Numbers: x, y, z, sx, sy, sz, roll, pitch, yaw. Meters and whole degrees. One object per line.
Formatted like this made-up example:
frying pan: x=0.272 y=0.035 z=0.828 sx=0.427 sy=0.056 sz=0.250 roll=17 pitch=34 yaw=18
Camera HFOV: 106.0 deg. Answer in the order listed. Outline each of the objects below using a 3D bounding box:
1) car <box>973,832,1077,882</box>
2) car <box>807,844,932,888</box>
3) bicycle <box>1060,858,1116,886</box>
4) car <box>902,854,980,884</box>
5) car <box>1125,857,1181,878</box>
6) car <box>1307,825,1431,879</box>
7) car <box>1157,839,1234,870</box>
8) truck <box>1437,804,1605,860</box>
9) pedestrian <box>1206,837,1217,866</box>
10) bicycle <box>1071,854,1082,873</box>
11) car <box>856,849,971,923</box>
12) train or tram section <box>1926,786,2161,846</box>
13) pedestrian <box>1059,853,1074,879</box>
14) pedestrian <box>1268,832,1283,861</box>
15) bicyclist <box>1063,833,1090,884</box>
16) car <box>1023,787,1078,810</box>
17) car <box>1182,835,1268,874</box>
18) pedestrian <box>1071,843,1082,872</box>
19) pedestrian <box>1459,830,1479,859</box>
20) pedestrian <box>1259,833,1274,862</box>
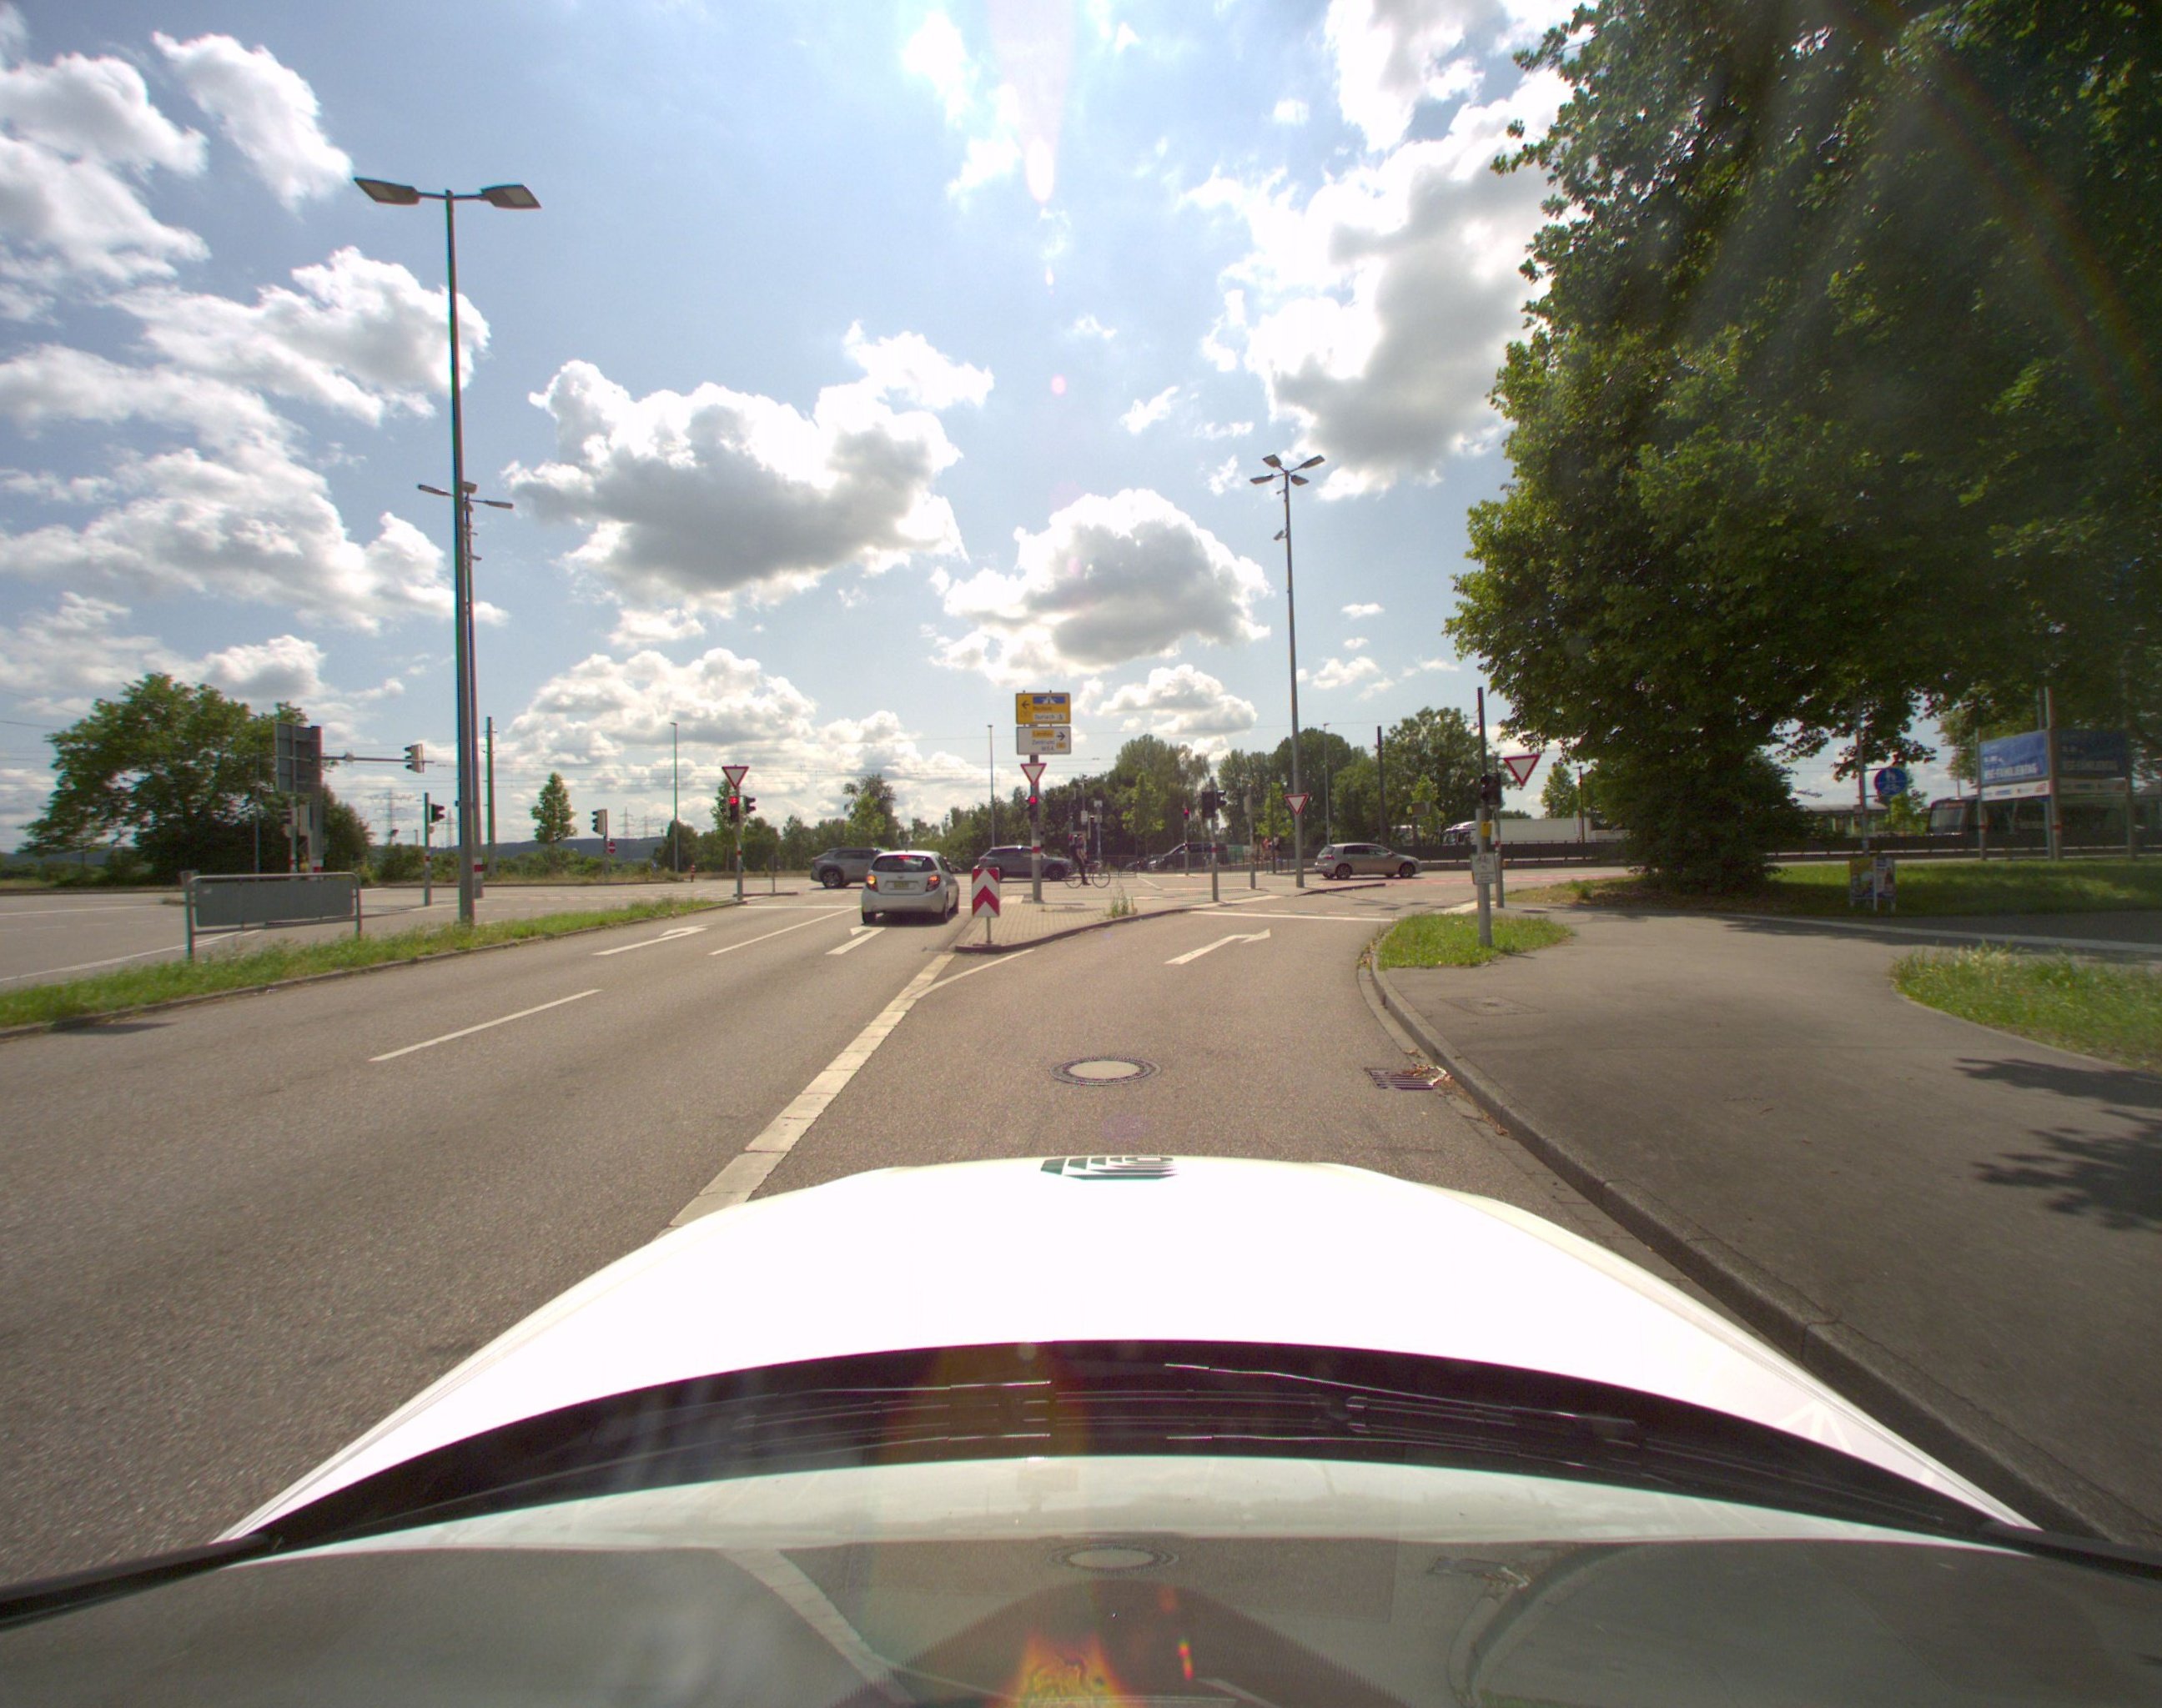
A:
car: x=-2.429 y=0.125 z=35.593 sx=4.339 sy=1.989 sz=1.998 roll=-2 pitch=0 yaw=-4
car: x=-8.297 y=0.444 z=32.319 sx=4.496 sy=1.674 sz=1.901 roll=0 pitch=0 yaw=-5
bicycle: x=0.238 y=0.656 z=29.807 sx=2.012 sy=0.999 sz=0.621 roll=0 pitch=1 yaw=-4
car: x=-9.751 y=1.027 z=56.961 sx=5.107 sy=1.808 sz=1.997 roll=-2 pitch=0 yaw=-4
car: x=5.427 y=0.995 z=61.578 sx=3.881 sy=1.409 sz=1.664 roll=-2 pitch=0 yaw=-11
car: x=11.764 y=-0.094 z=33.502 sx=4.339 sy=1.989 sz=1.998 roll=-2 pitch=0 yaw=-4
car: x=7.423 y=0.034 z=53.233 sx=4.641 sy=1.820 sz=1.998 roll=-2 pitch=0 yaw=-3
truck: x=35.025 y=-1.741 z=65.063 sx=11.926 sy=4.104 sz=2.950 roll=-2 pitch=0 yaw=-2
pedestrian: x=7.816 y=-0.154 z=48.828 sx=0.521 sy=1.721 sz=0.730 roll=-2 pitch=0 yaw=1
bicycle: x=-0.268 y=0.562 z=49.640 sx=0.617 sy=1.087 sz=1.722 roll=-2 pitch=0 yaw=-1
car: x=-3.608 y=0.631 z=18.215 sx=1.889 sy=1.470 sz=3.830 roll=0 pitch=0 yaw=-2
train or tram section: x=57.288 y=-2.212 z=47.593 sx=14.037 sy=3.186 sz=3.040 roll=-1 pitch=-1 yaw=-6
pedestrian: x=-1.188 y=0.977 z=66.102 sx=0.982 sy=2.013 sz=0.899 roll=-3 pitch=0 yaw=-11
pedestrian: x=11.706 y=-0.450 z=49.040 sx=0.674 sy=1.748 sz=0.637 roll=-2 pitch=2 yaw=0
bicyclist: x=-0.169 y=0.158 z=29.763 sx=0.919 sy=1.846 sz=0.610 roll=-2 pitch=0 yaw=-3
car: x=-2.350 y=-4.191 z=61.715 sx=4.022 sy=1.464 sz=1.929 roll=-2 pitch=0 yaw=-6
car: x=7.411 y=0.023 z=42.176 sx=3.980 sy=1.783 sz=1.907 roll=-3 pitch=0 yaw=-5
pedestrian: x=-0.275 y=0.202 z=49.605 sx=0.609 sy=1.769 sz=0.672 roll=-2 pitch=0 yaw=-1
pedestrian: x=24.853 y=-0.585 z=52.171 sx=0.925 sy=1.807 sz=0.735 roll=-2 pitch=0 yaw=-4
pedestrian: x=11.380 y=-0.388 z=49.975 sx=0.704 sy=1.721 sz=0.601 roll=-2 pitch=0 yaw=-1
